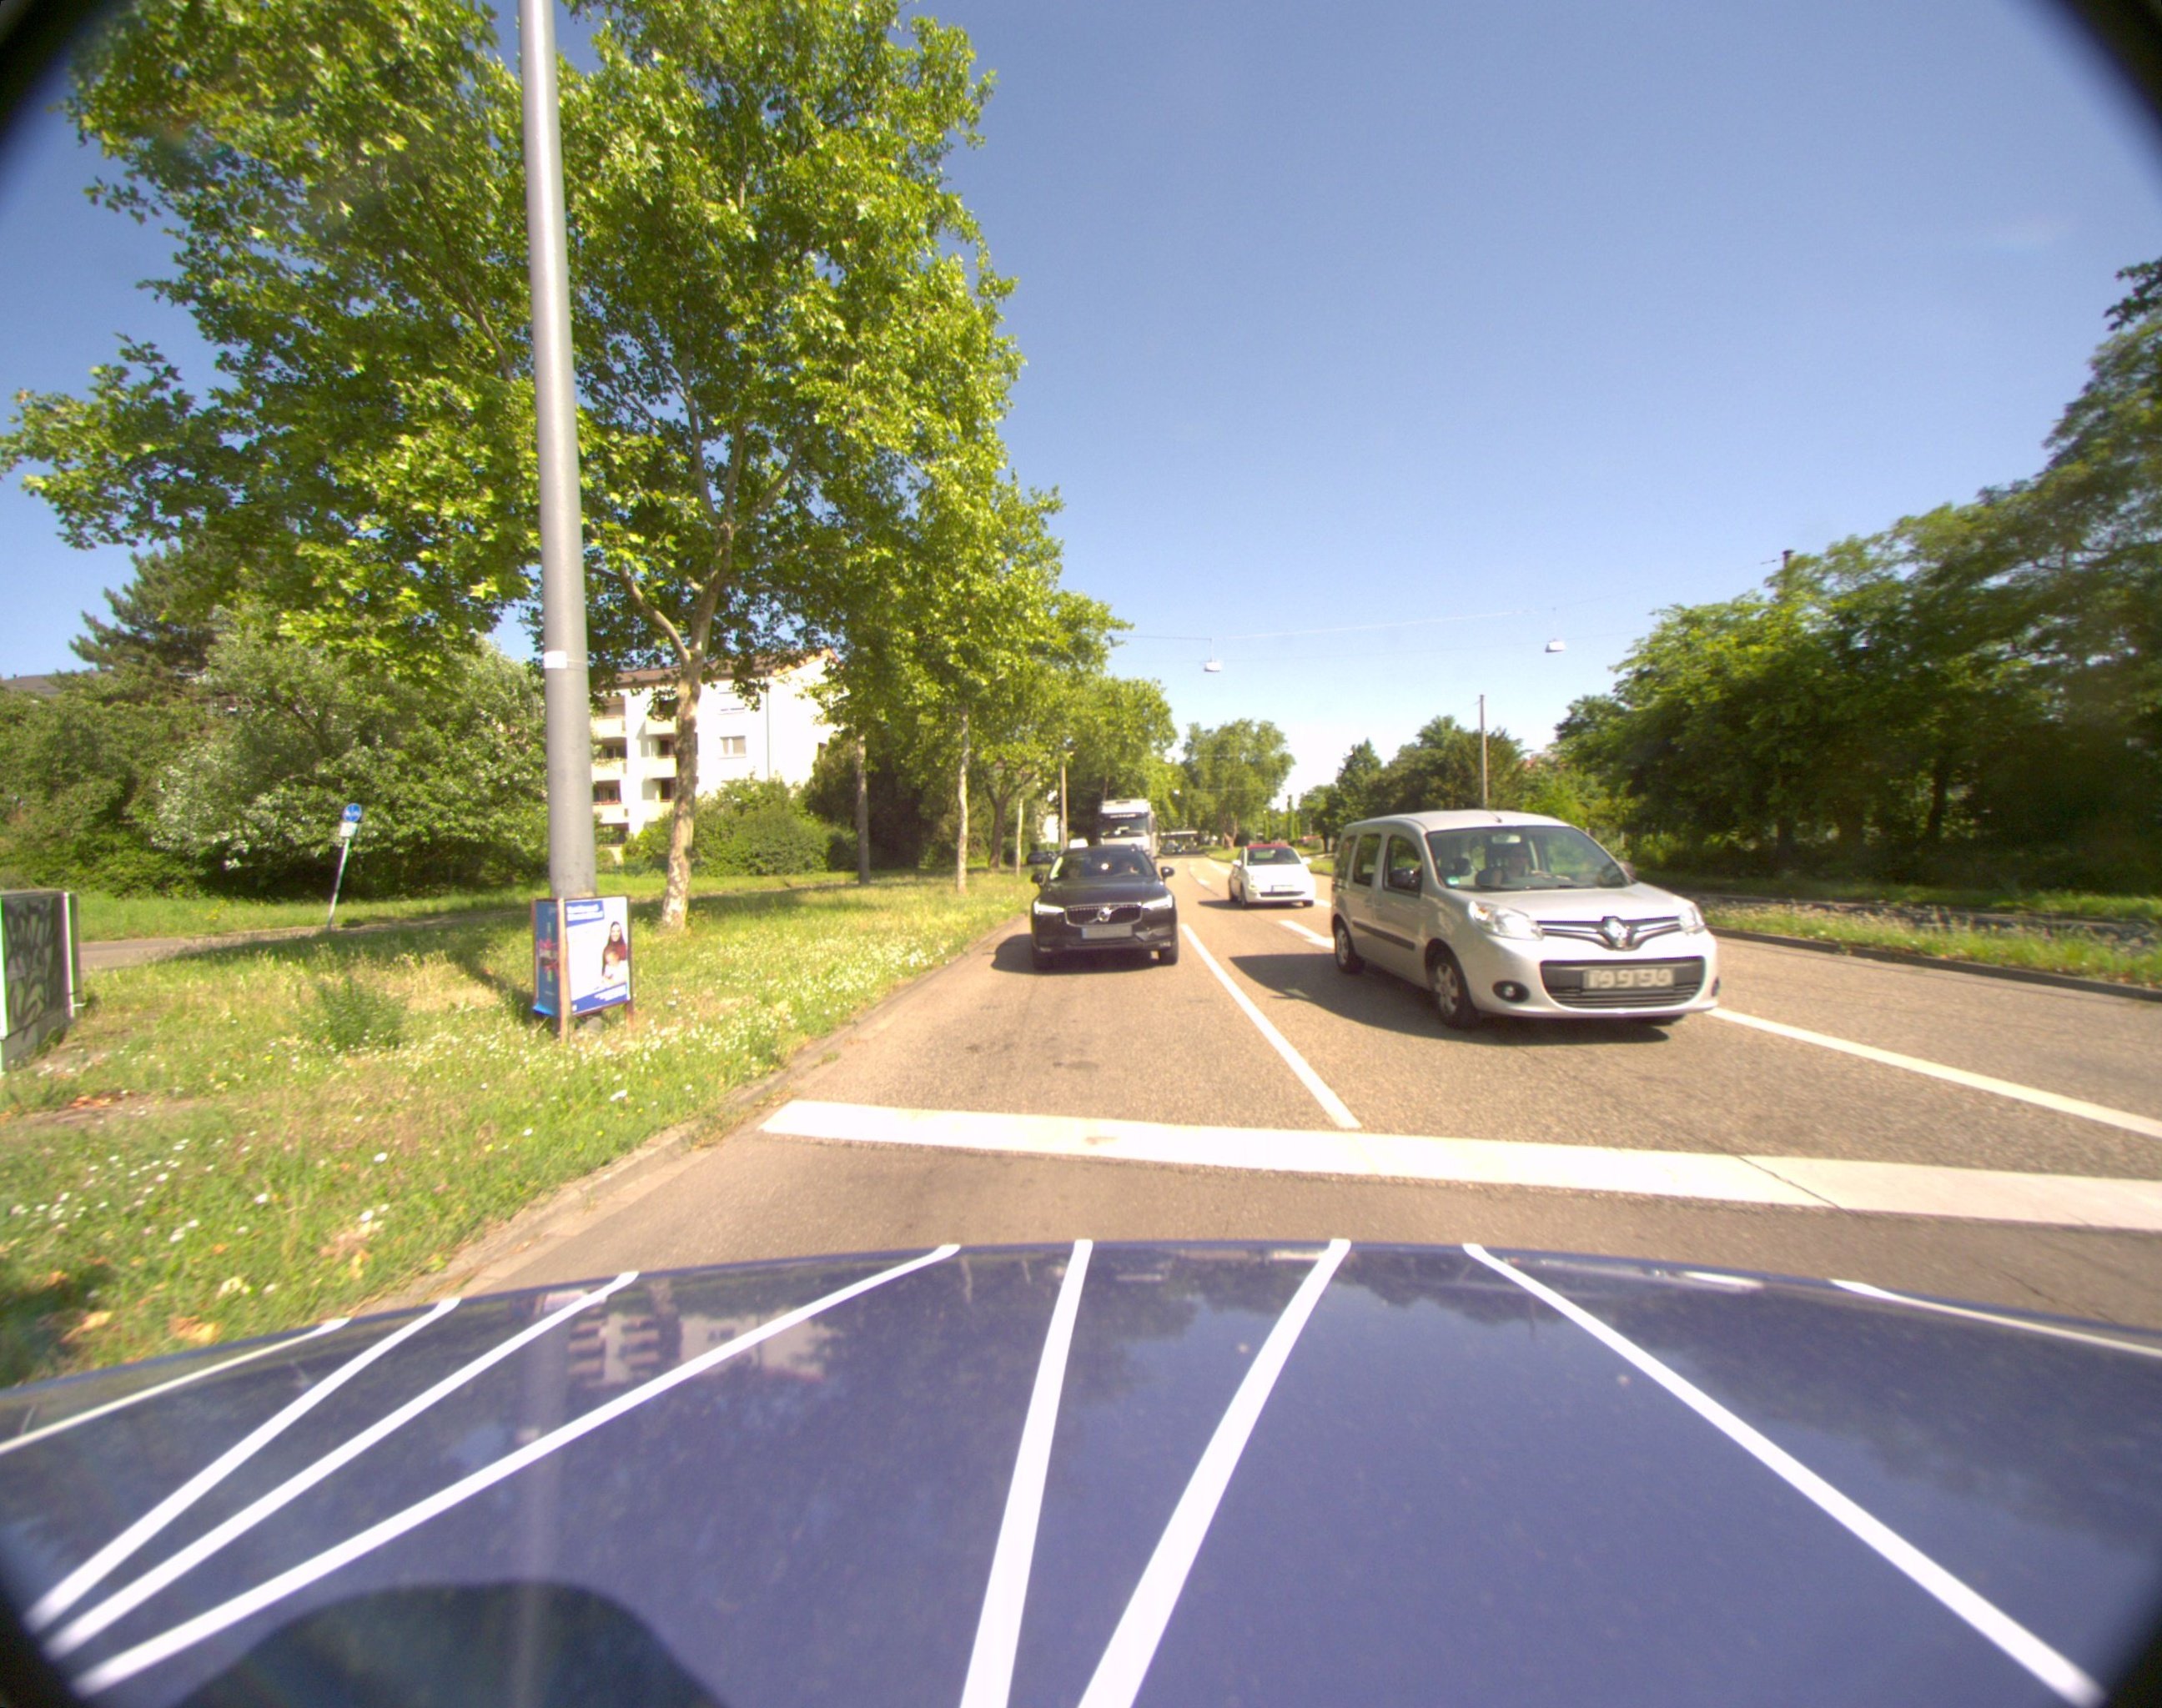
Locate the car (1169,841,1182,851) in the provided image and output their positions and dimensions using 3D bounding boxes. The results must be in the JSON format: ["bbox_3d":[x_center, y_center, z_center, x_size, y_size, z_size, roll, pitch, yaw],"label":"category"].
[{"bbox_3d":[19.657,-1.622,158.136,1.996,2.002,4.005,-1,1,18],"label":"car"}]

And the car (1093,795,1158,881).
[{"bbox_3d":[2.280,-0.775,38.523,2.902,3.898,7.142,-1,1,4],"label":"car"}]

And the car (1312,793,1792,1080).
[{"bbox_3d":[3.752,0.517,7.166,1.877,1.829,4.375,-2,1,1],"label":"car"}]

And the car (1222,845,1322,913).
[{"bbox_3d":[4.664,0.534,19.096,1.689,1.482,4.376,-1,1,4],"label":"car"}]

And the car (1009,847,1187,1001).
[{"bbox_3d":[0.295,0.755,10.828,1.904,1.606,4.873,-2,1,3],"label":"car"}]

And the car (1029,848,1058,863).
[{"bbox_3d":[-3.849,0.138,78.465,1.504,1.364,4.094,-1,1,18],"label":"car"}]

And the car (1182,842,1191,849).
[{"bbox_3d":[28.006,-2.273,201.675,1.996,2.002,4.004,-1,1,15],"label":"car"}]

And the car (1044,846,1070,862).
[{"bbox_3d":[-2.606,-0.011,83.940,1.504,1.633,4.094,-1,1,18],"label":"car"}]
